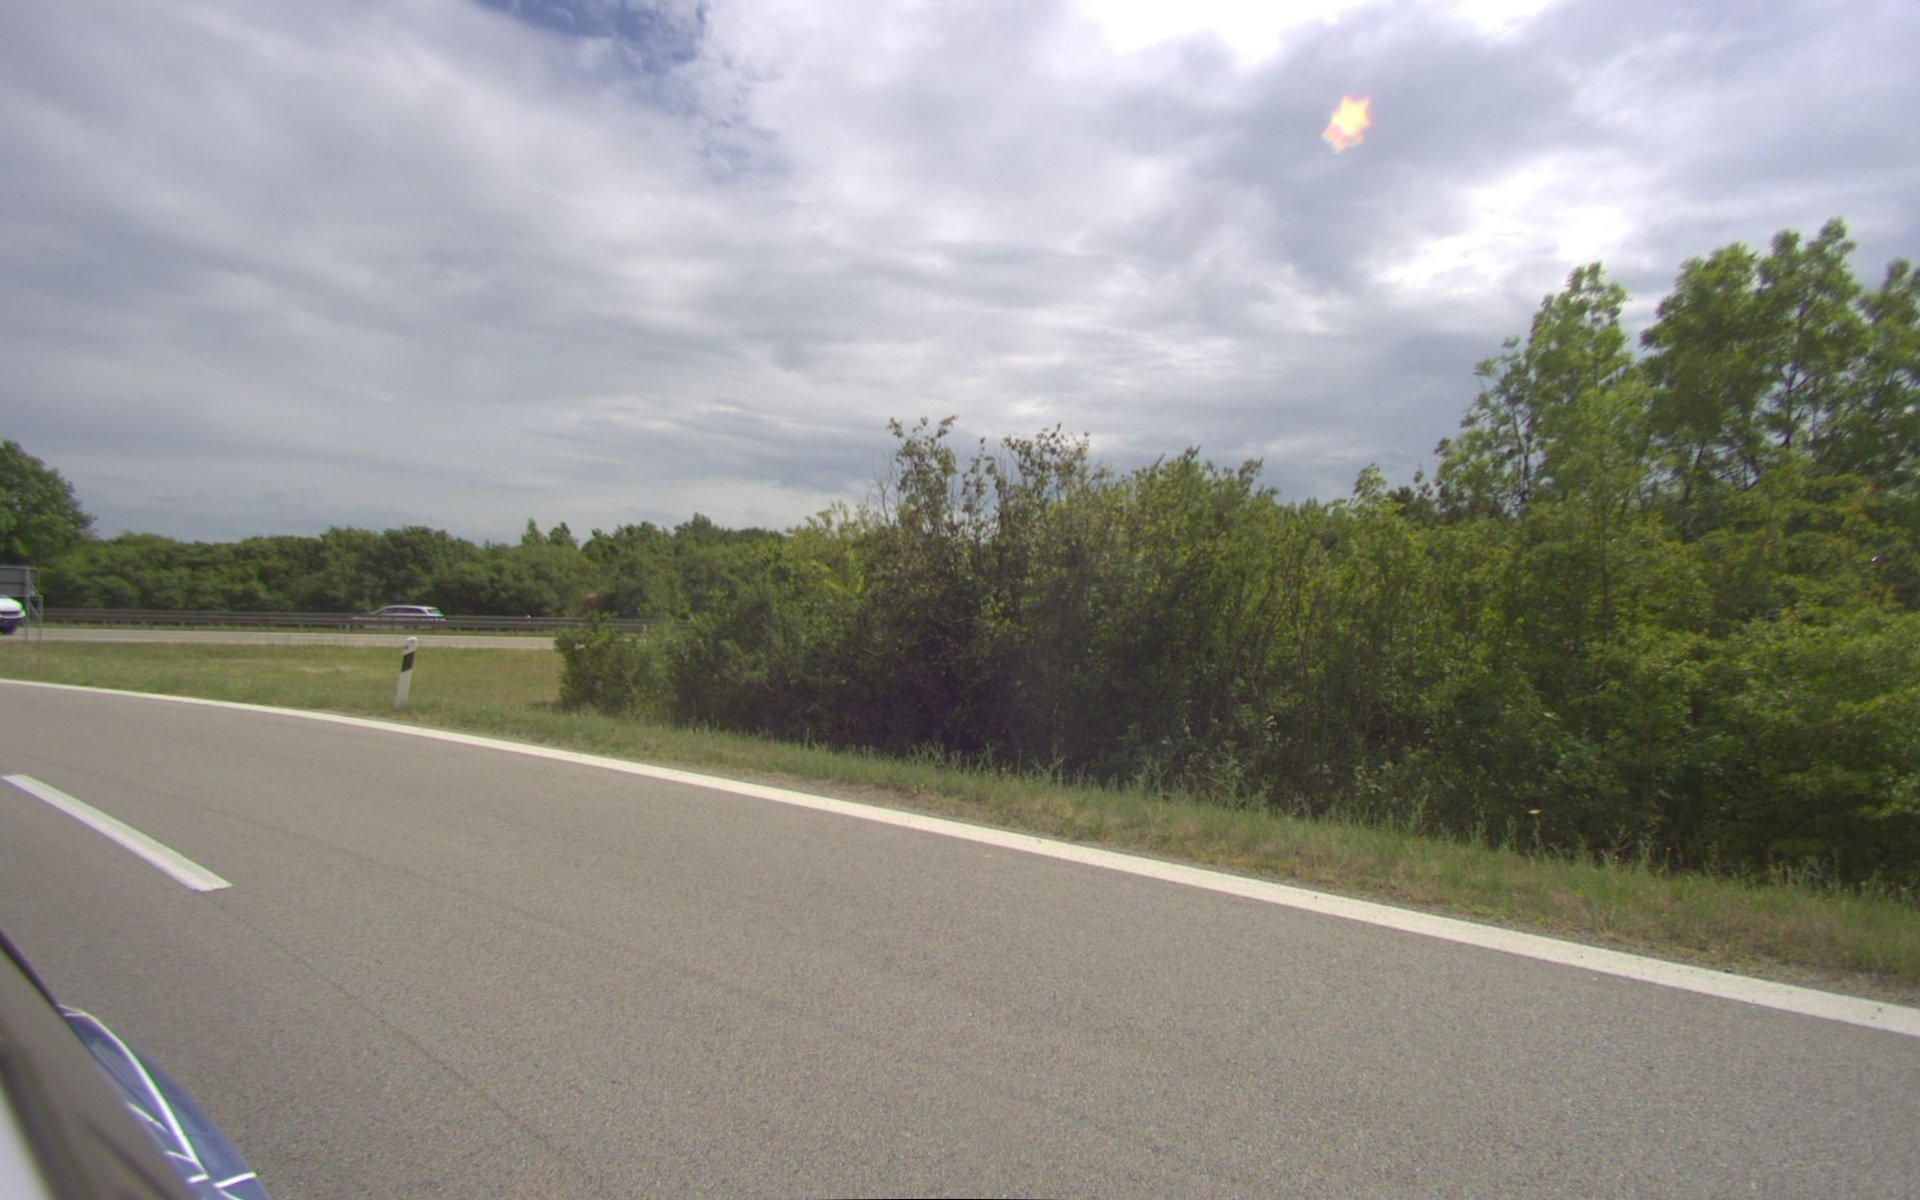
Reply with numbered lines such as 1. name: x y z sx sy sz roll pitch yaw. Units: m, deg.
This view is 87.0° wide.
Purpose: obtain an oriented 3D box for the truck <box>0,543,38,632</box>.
1. truck: -43.335 -0.547 41.304 8.820 3.614 2.893 1 0 0

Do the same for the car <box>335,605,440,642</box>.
1. car: -30.538 1.256 54.036 4.546 1.887 1.846 0 0 -3

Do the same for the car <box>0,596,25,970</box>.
1. car: -6.223 0.760 4.924 4.536 1.526 1.973 0 0 41

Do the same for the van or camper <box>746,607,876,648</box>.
1. van or camper: -8.496 1.575 58.168 7.228 2.145 2.232 1 -2 -4
